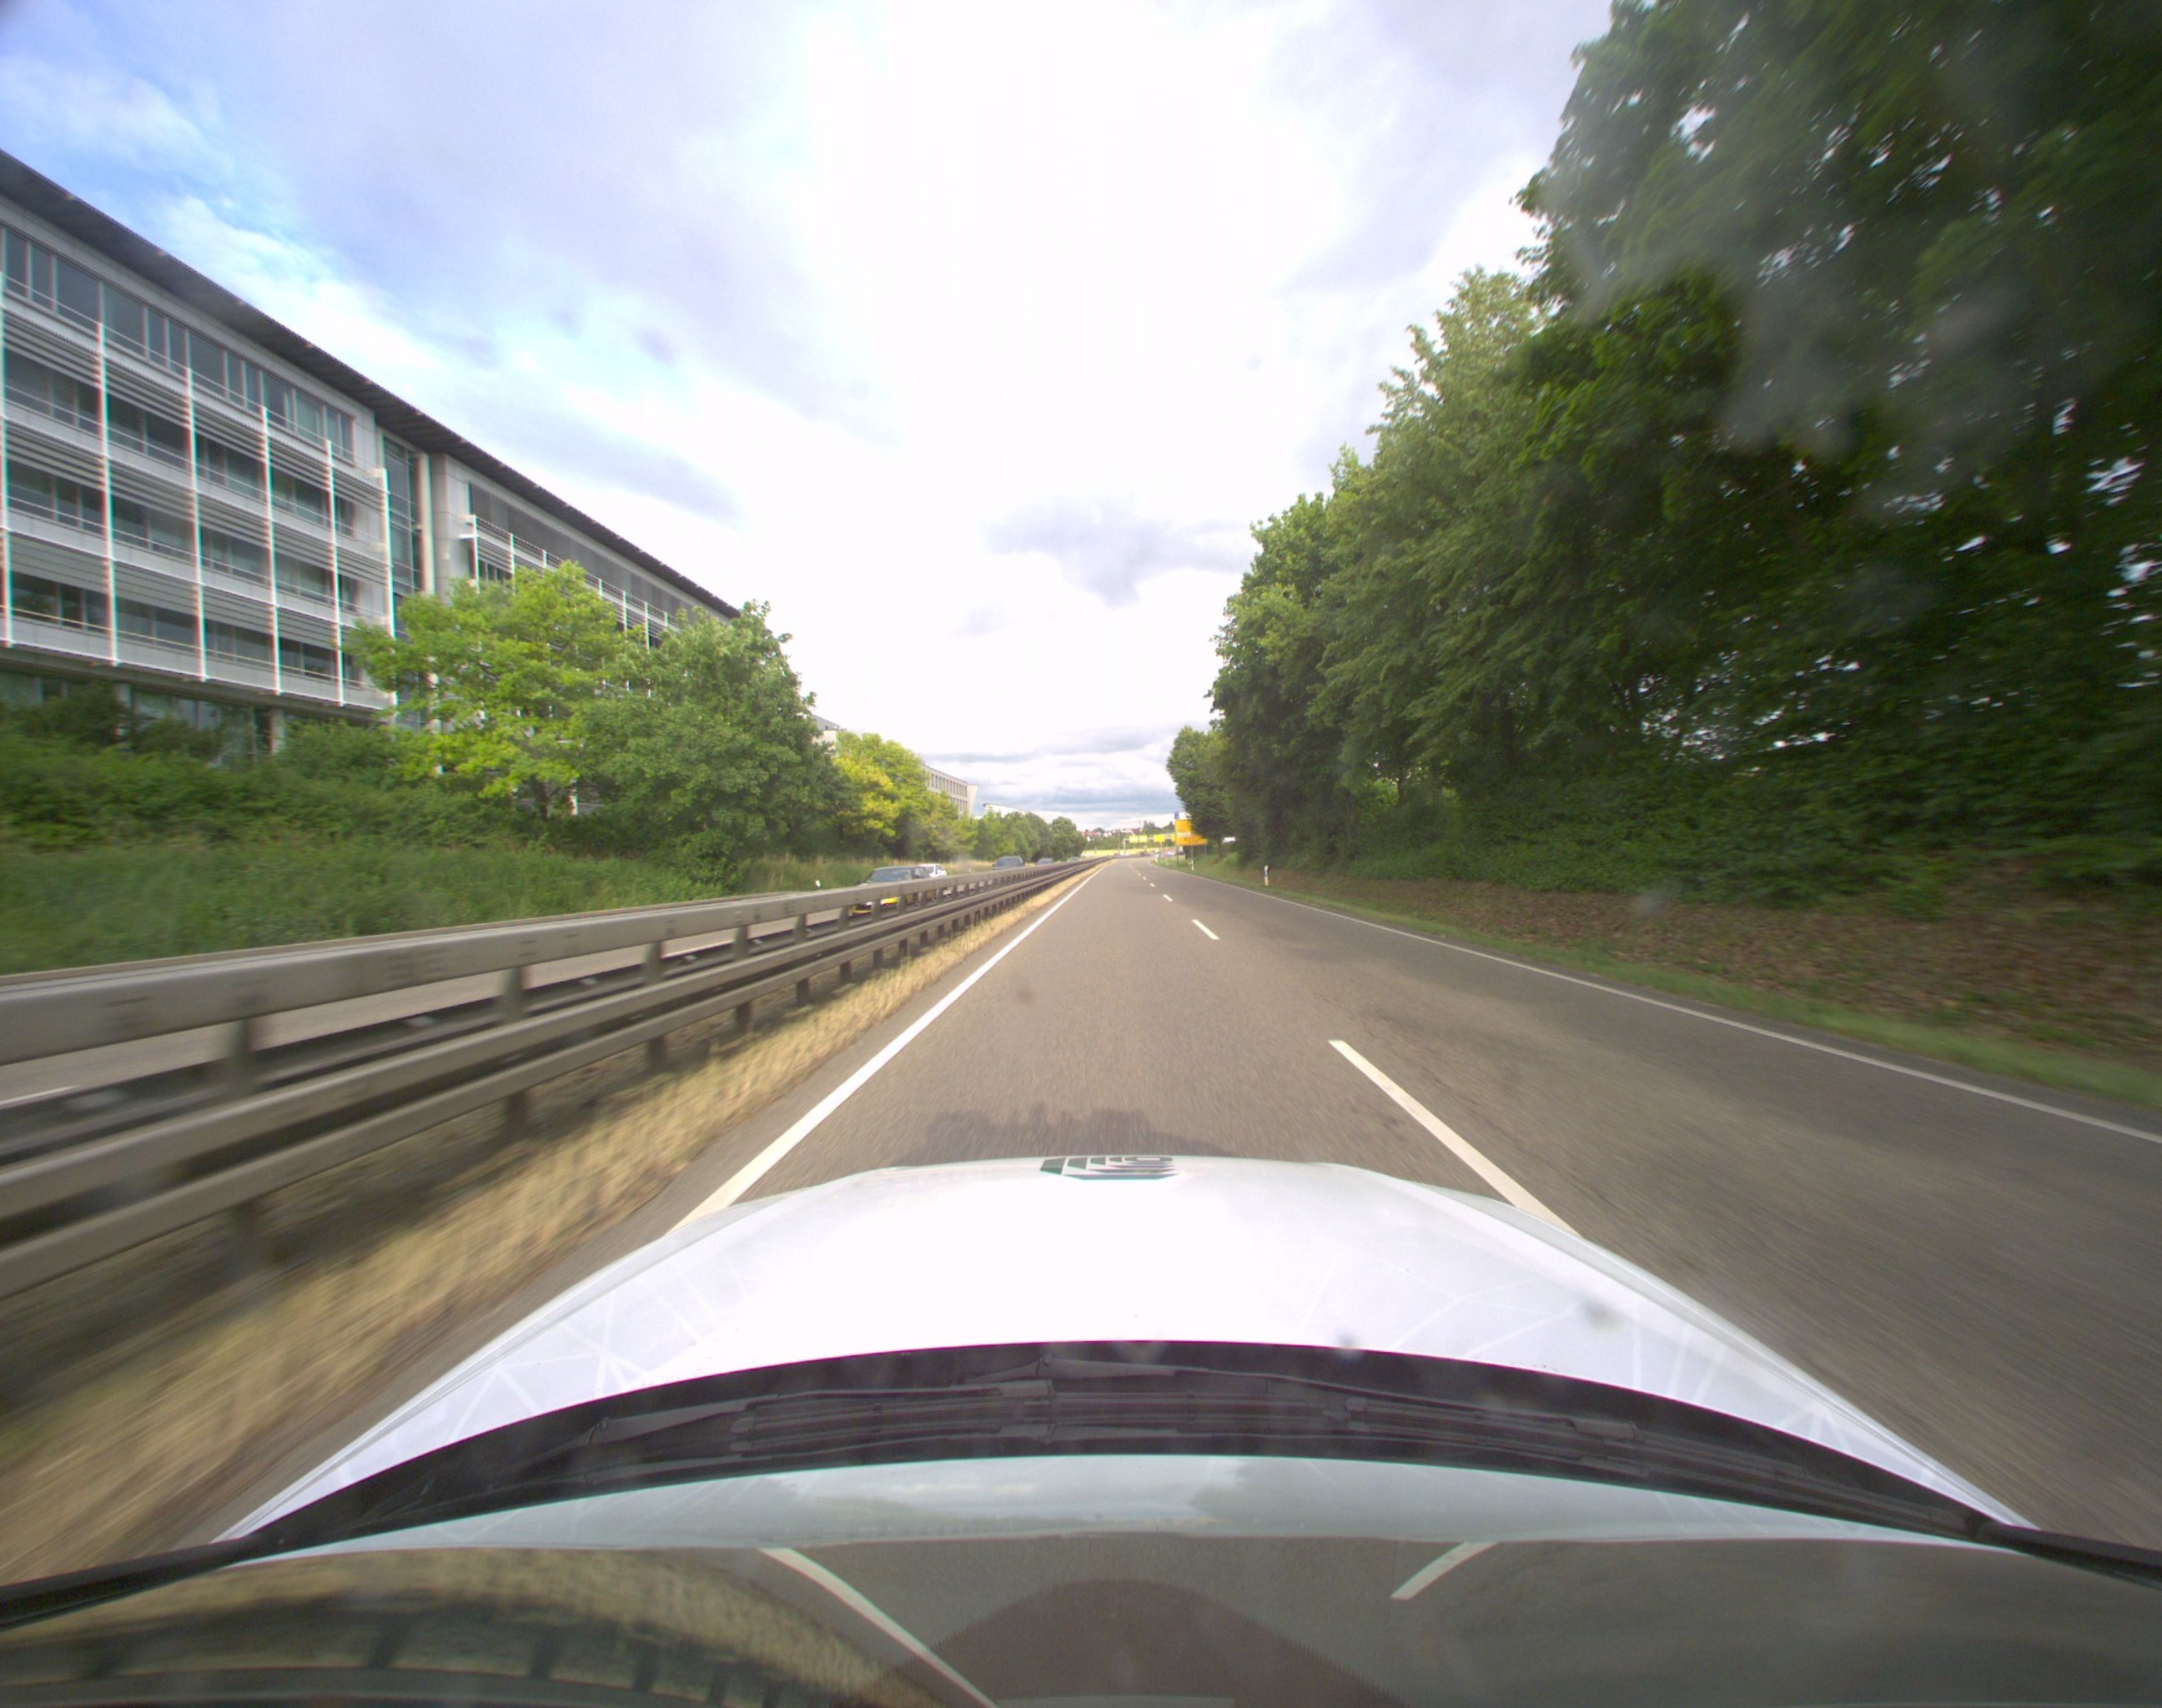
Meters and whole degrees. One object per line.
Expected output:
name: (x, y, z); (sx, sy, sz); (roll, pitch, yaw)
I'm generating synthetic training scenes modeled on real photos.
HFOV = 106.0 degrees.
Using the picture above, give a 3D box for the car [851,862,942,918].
car: (-5.371, 0.996, 24.226); (1.585, 1.447, 4.002); (-2, 0, 2)

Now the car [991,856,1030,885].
car: (-4.337, 0.979, 50.802); (1.736, 1.645, 5.282); (-2, 0, 2)

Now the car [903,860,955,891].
car: (-8.355, 1.155, 45.116); (1.810, 1.485, 4.419); (-2, 0, 2)

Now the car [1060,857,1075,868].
car: (-2.008, 1.286, 122.620); (1.828, 1.378, 4.568); (-5, 0, 2)

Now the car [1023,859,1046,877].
car: (-4.349, 1.295, 76.804); (1.736, 1.458, 4.313); (-4, 0, 2)
